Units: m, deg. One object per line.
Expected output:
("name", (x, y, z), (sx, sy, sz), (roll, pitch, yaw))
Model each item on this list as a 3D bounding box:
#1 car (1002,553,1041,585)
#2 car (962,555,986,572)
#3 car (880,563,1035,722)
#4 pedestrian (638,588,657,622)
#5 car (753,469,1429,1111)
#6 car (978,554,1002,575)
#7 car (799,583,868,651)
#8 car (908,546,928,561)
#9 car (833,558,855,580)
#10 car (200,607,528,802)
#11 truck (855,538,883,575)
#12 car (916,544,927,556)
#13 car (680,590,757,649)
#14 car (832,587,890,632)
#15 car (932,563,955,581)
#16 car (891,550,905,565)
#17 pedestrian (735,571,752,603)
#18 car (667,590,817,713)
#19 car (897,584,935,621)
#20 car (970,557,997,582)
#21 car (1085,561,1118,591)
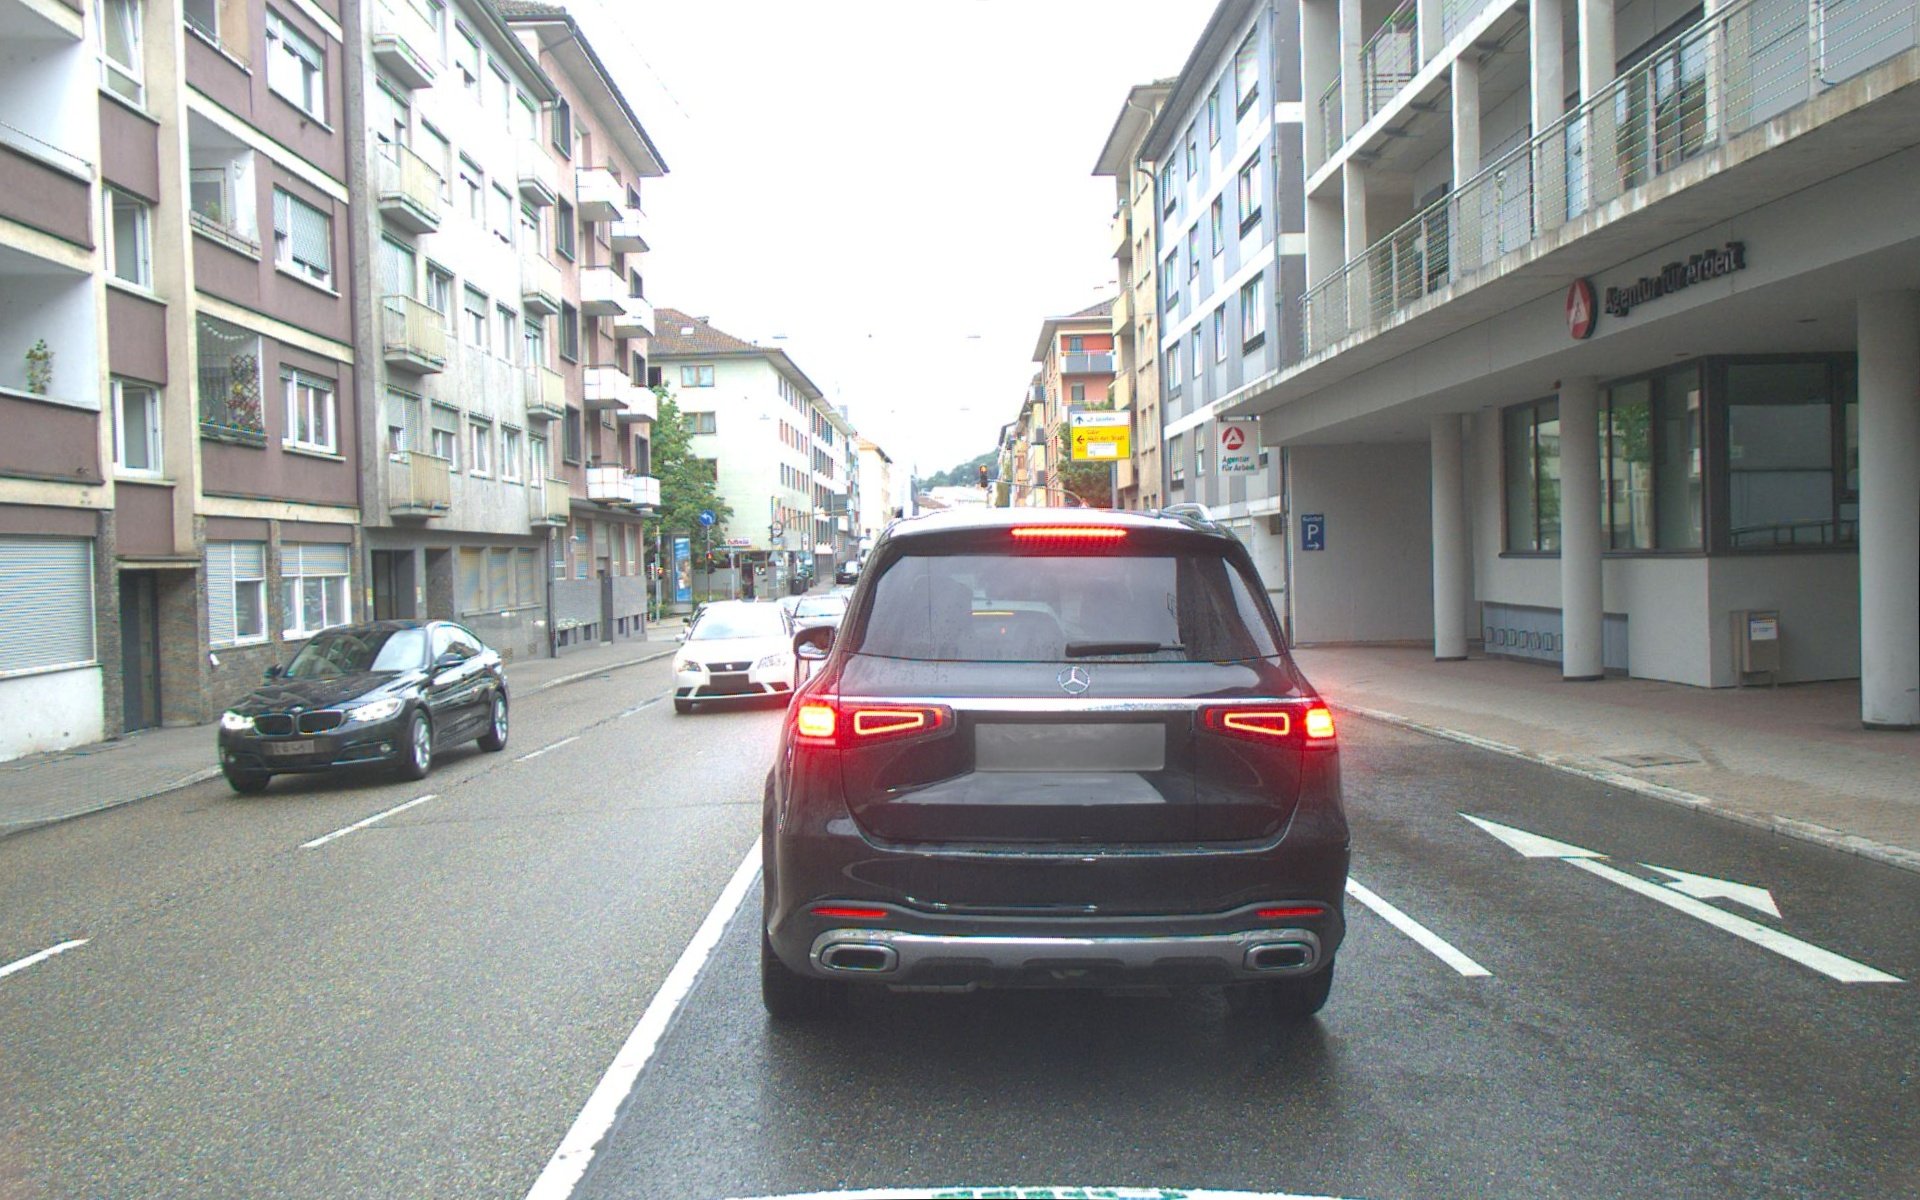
("car", (3.113, -1.561, 84.220), (1.586, 1.411, 4.215), (-3, 0, -3))
("car", (1.296, -3.366, 153.589), (1.848, 1.396, 4.215), (-3, 0, -3))
("car", (-0.131, 0.487, 20.810), (1.716, 1.762, 4.215), (-1, 0, -3))
("pedestrian", (-16.890, 0.258, 89.372), (0.632, 1.795, 0.761), (-2, 0, -42))
("car", (0.356, 0.565, 7.003), (1.944, 1.836, 4.389), (1, 0, -1))
("car", (2.472, -2.897, 135.097), (1.586, 1.566, 4.215), (-3, 0, -3))
("car", (-3.209, 0.421, 42.609), (1.586, 1.566, 4.215), (-3, 0, -3))
("car", (-4.269, -4.719, 168.214), (1.848, 1.286, 4.215), (-3, 0, -3))
("car", (-9.207, -2.478, 131.473), (1.586, 1.566, 4.215), (-3, 0, -3))
("car", (-5.861, 0.937, 16.877), (1.661, 1.566, 4.435), (-6, 0, -1))
("truck", (-8.596, -4.047, 156.925), (2.430, 3.099, 9.914), (-3, 0, -3))
("car", (-5.823, -7.574, 250.248), (1.586, 1.566, 4.215), (-3, 0, -3))
("car", (-6.945, 0.524, 47.941), (1.689, 1.498, 4.372), (-4, 1, -2))
("car", (-3.375, 0.335, 57.020), (1.660, 1.394, 4.217), (-4, -1, 0))
("car", (-1.463, -2.440, 145.452), (1.953, 1.514, 3.999), (-2, 0, -1))
("car", (-7.277, -4.939, 193.588), (1.586, 1.566, 4.215), (-3, 0, -3))
("pedestrian", (-13.324, -0.787, 101.758), (0.904, 1.935, 0.706), (-2, 0, -3))
("car", (-3.123, 0.709, 24.408), (1.709, 1.566, 4.051), (-3, 0, -2))
("car", (-2.099, 0.142, 77.790), (1.661, 1.608, 4.216), (-4, -1, -2))
("car", (1.684, -2.191, 119.180), (1.586, 1.566, 4.215), (-3, 0, -3))
("car", (8.097, -1.357, 94.738), (1.636, 1.616, 3.331), (-2, 1, 1))
